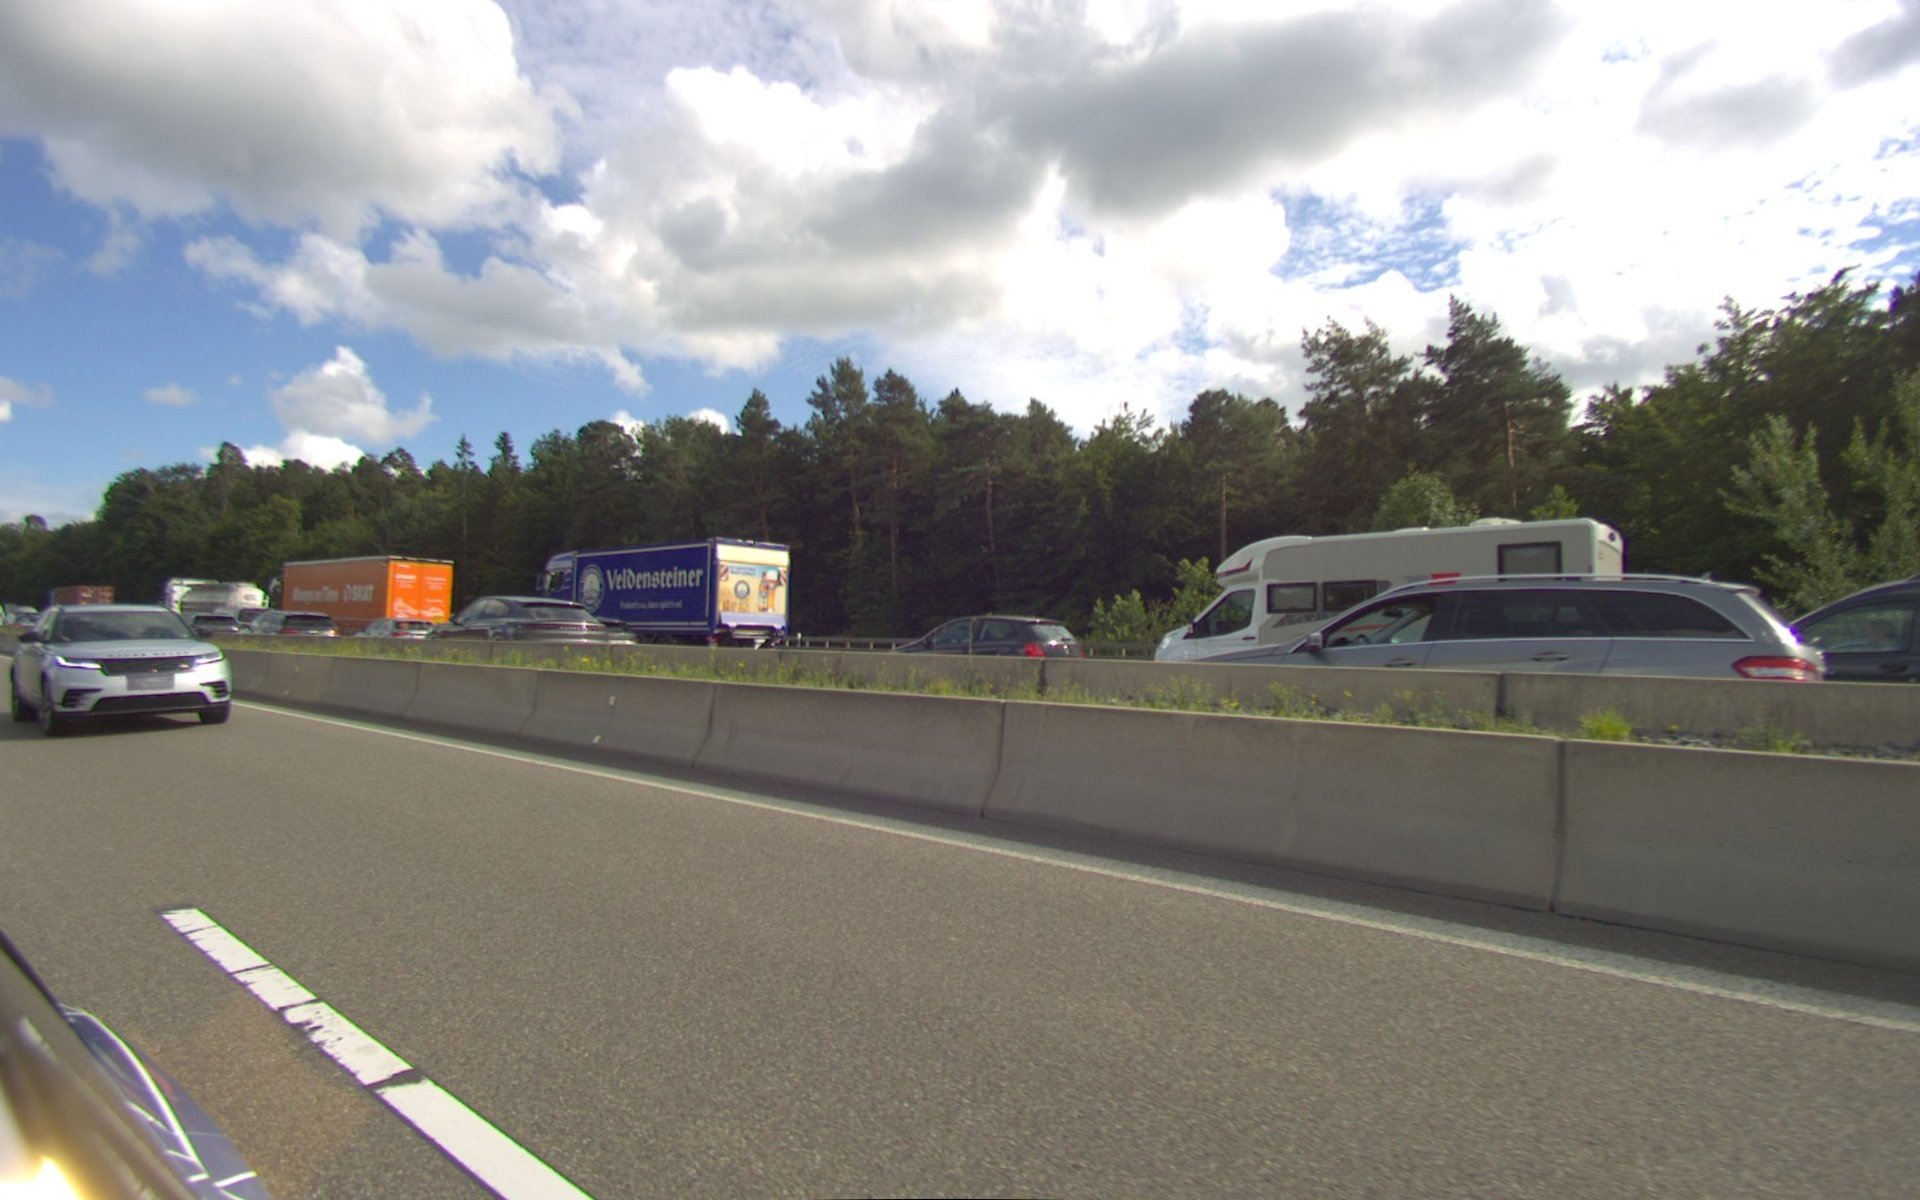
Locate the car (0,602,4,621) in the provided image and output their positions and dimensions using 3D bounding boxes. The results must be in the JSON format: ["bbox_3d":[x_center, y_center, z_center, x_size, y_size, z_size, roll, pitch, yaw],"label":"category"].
[{"bbox_3d":[-102.542,1.238,106.880,3.998,2.029,1.973,0,0,41],"label":"car"}]

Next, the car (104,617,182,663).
[{"bbox_3d":[-35.738,1.714,44.219,4.900,1.896,1.798,-1,-1,41],"label":"car"}]

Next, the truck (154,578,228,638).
[{"bbox_3d":[-50.816,0.562,66.848,5.106,3.775,2.926,-1,-1,41],"label":"truck"}]

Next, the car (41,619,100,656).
[{"bbox_3d":[-47.381,1.946,53.876,4.901,1.896,1.797,-1,-1,42],"label":"car"}]

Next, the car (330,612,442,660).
[{"bbox_3d":[-19.245,1.181,33.852,4.900,1.494,1.706,-1,-1,41],"label":"car"}]

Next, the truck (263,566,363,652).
[{"bbox_3d":[-32.799,0.467,51.203,6.716,4.102,2.586,-1,-1,42],"label":"truck"}]

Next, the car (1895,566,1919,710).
[{"bbox_3d":[10.522,0.286,7.939,4.563,1.240,1.813,-1,-1,41],"label":"car"}]

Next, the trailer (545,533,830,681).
[{"bbox_3d":[-8.303,0.268,29.670,10.214,3.686,2.858,-1,-1,41],"label":"trailer"}]

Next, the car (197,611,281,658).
[{"bbox_3d":[-32.653,1.515,45.790,4.988,1.974,1.973,0,0,41],"label":"car"}]

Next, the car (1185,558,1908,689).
[{"bbox_3d":[4.114,0.160,7.717,4.444,0.730,1.630,-1,0,41],"label":"car"}]

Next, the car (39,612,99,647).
[{"bbox_3d":[-47.401,1.541,53.802,4.901,1.759,1.797,-1,-1,42],"label":"car"}]

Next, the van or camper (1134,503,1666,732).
[{"bbox_3d":[6.673,0.191,16.273,7.479,2.911,2.444,1,1,41],"label":"van or camper"}]

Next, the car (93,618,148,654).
[{"bbox_3d":[-51.642,2.166,62.218,4.475,2.122,1.798,-1,-1,40],"label":"car"}]

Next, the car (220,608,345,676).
[{"bbox_3d":[-19.379,1.150,28.871,4.627,1.777,1.798,-1,-1,41],"label":"car"}]

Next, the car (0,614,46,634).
[{"bbox_3d":[-57.062,1.441,61.535,4.352,1.182,1.579,-1,-1,40],"label":"car"}]

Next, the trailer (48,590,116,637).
[{"bbox_3d":[-80.023,1.151,92.098,12.885,4.013,2.919,0,0,41],"label":"trailer"}]

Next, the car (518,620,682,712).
[{"bbox_3d":[-9.085,1.557,25.331,4.633,2.076,1.813,-1,-1,41],"label":"car"}]

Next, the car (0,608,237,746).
[{"bbox_3d":[-12.073,0.970,14.335,5.103,1.619,1.880,-2,-1,41],"label":"car"}]

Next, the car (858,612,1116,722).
[{"bbox_3d":[0.377,1.064,17.504,4.269,1.672,1.813,-1,-1,41],"label":"car"}]

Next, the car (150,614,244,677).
[{"bbox_3d":[-26.814,1.521,35.507,4.681,2.029,1.725,0,0,41],"label":"car"}]

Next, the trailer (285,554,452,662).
[{"bbox_3d":[-27.428,0.341,46.473,13.172,4.352,2.611,0,0,41],"label":"trailer"}]

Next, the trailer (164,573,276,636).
[{"bbox_3d":[-45.737,0.280,62.344,12.225,3.524,2.919,0,0,41],"label":"trailer"}]

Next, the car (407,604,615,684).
[{"bbox_3d":[-8.901,0.806,19.852,4.900,1.398,1.813,-1,-1,41],"label":"car"}]
